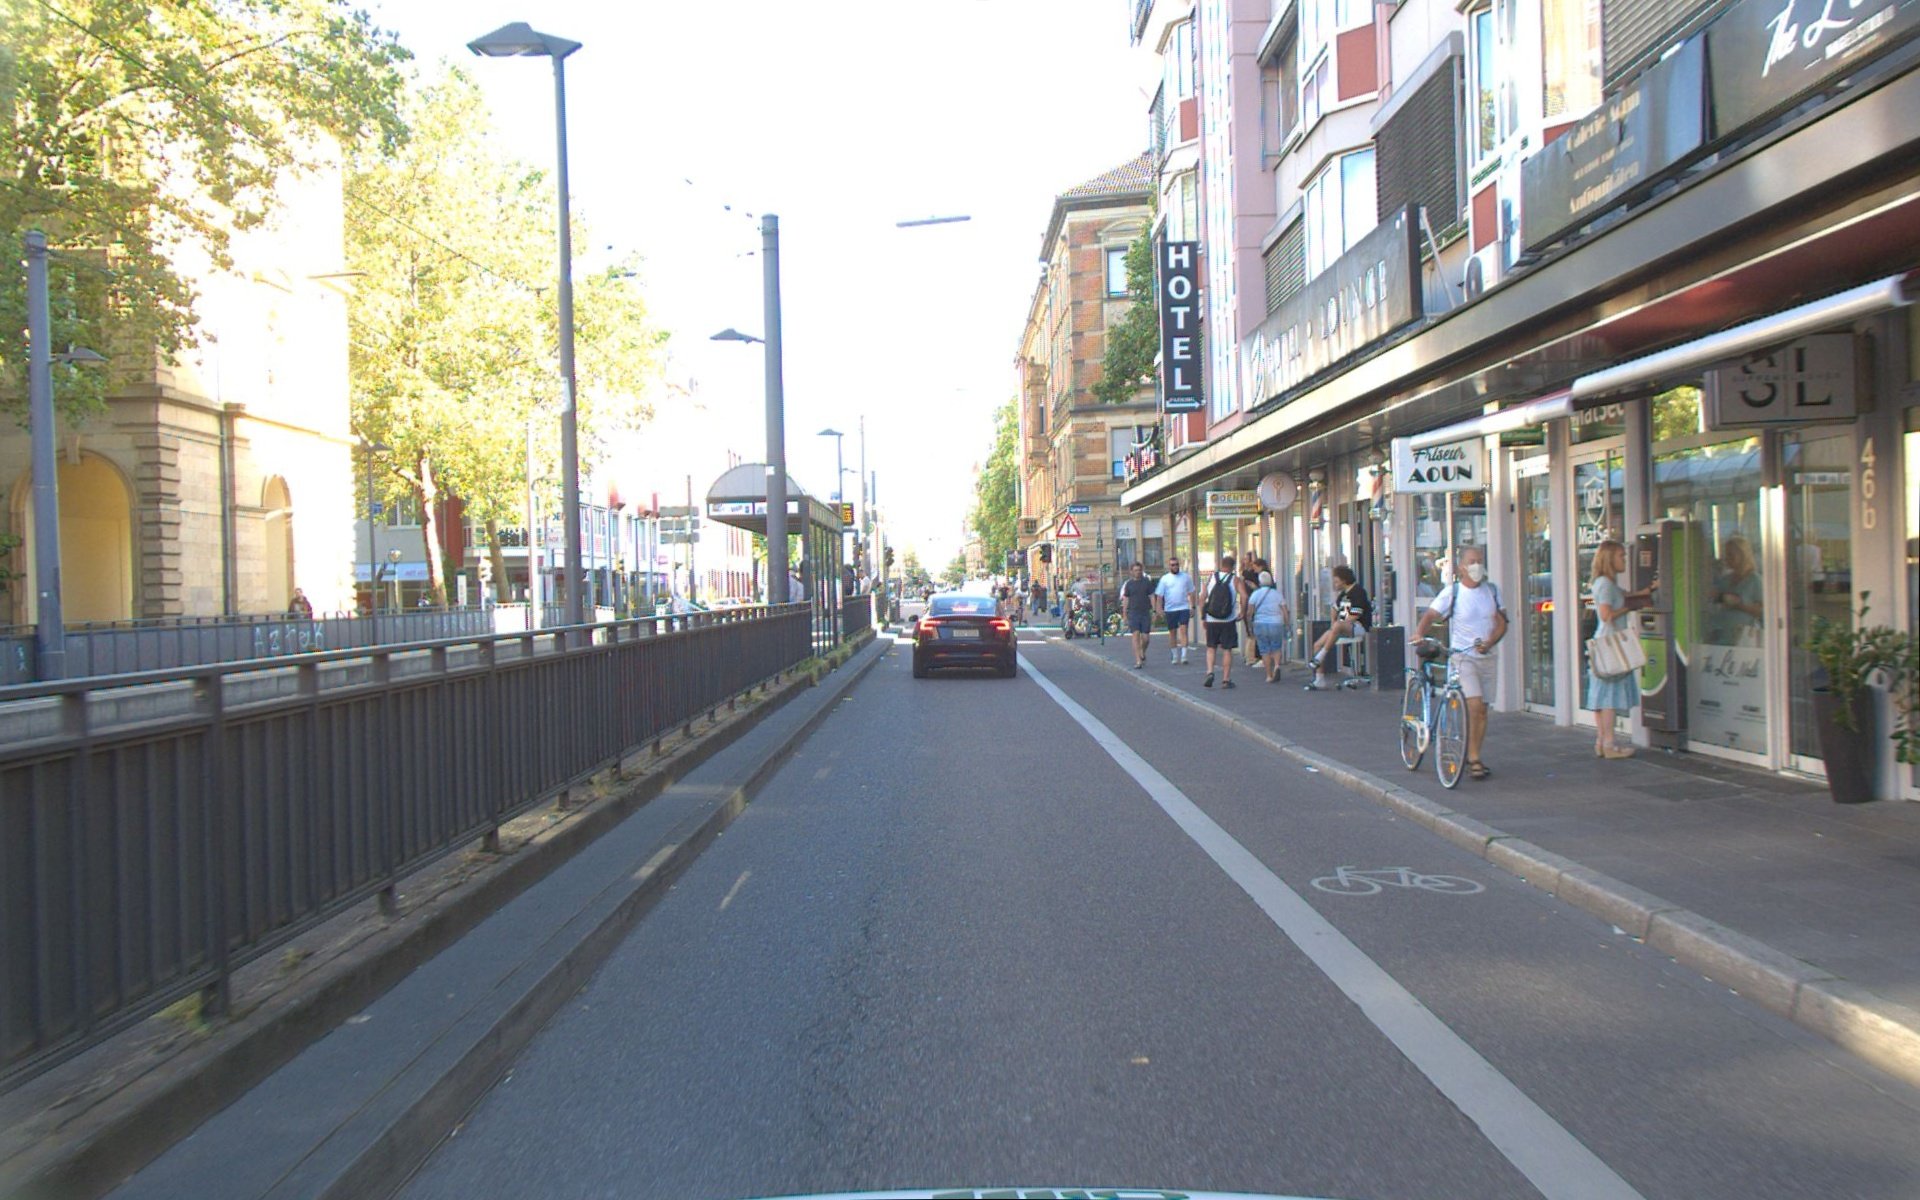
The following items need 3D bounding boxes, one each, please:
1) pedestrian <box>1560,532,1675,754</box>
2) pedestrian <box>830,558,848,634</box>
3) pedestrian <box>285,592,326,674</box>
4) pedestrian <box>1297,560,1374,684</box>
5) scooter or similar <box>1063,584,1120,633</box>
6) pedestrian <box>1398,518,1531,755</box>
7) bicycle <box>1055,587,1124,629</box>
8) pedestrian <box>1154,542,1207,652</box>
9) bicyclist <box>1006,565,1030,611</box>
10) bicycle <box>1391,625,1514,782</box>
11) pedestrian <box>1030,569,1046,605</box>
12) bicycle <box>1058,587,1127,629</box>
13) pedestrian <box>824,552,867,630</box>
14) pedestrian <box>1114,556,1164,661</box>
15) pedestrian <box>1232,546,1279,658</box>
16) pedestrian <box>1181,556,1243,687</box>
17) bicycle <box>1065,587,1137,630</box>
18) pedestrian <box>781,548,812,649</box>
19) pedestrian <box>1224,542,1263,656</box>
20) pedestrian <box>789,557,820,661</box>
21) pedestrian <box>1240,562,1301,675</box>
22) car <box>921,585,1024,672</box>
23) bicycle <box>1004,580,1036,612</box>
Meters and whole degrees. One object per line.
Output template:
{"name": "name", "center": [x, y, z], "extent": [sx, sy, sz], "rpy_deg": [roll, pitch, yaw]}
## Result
{"name": "pedestrian", "center": [4.977, 0.316, 12.538], "extent": [0.588, 1.617, 0.553], "rpy_deg": [-2, 0, -1]}
{"name": "pedestrian", "center": [-2.726, -0.096, 37.188], "extent": [0.344, 1.698, 0.529], "rpy_deg": [-1, 0, -2]}
{"name": "pedestrian", "center": [-16.698, 0.832, 42.209], "extent": [0.690, 2.049, 0.685], "rpy_deg": [-1, 0, 40]}
{"name": "pedestrian", "center": [4.792, 0.273, 21.155], "extent": [0.723, 1.497, 0.707], "rpy_deg": [-4, 0, 0]}
{"name": "scooter or similar", "center": [3.575, 0.221, 45.129], "extent": [1.448, 1.250, 0.591], "rpy_deg": [-4, 0, 0]}
{"name": "pedestrian", "center": [3.718, 0.259, 12.229], "extent": [0.649, 1.658, 0.705], "rpy_deg": [-4, 0, -2]}
{"name": "bicycle", "center": [3.790, 0.230, 48.464], "extent": [1.906, 1.126, 0.564], "rpy_deg": [-2, 0, -3]}
{"name": "pedestrian", "center": [3.863, -0.055, 28.988], "extent": [0.691, 1.851, 0.763], "rpy_deg": [-4, 0, 0]}
{"name": "bicyclist", "center": [2.146, -0.433, 61.116], "extent": [0.644, 1.684, 0.924], "rpy_deg": [-1, 0, -13]}
{"name": "bicycle", "center": [3.584, 0.717, 12.134], "extent": [0.296, 1.007, 1.760], "rpy_deg": [-3, 1, -1]}
{"name": "pedestrian", "center": [3.789, -0.634, 80.251], "extent": [0.461, 1.758, 0.586], "rpy_deg": [-1, 1, 35]}
{"name": "bicycle", "center": [3.827, 0.230, 47.817], "extent": [1.906, 1.126, 0.564], "rpy_deg": [-2, 0, -3]}
{"name": "pedestrian", "center": [-2.775, -0.210, 40.066], "extent": [0.762, 1.863, 0.796], "rpy_deg": [0, -1, -31]}
{"name": "pedestrian", "center": [3.109, 0.145, 28.798], "extent": [0.654, 1.758, 0.810], "rpy_deg": [-4, 0, -1]}
{"name": "pedestrian", "center": [4.868, 0.029, 27.261], "extent": [0.616, 1.800, 0.501], "rpy_deg": [-3, 0, 0]}
{"name": "pedestrian", "center": [3.434, 0.280, 22.593], "extent": [0.729, 1.757, 0.814], "rpy_deg": [0, 0, 0]}
{"name": "bicycle", "center": [3.907, 0.225, 45.789], "extent": [1.906, 1.126, 0.564], "rpy_deg": [-2, 0, -3]}
{"name": "pedestrian", "center": [-2.637, -0.027, 26.762], "extent": [0.415, 1.601, 0.592], "rpy_deg": [-1, 0, 0]}
{"name": "pedestrian", "center": [4.796, -0.020, 27.994], "extent": [0.442, 1.881, 0.812], "rpy_deg": [-3, 0, 0]}
{"name": "pedestrian", "center": [-2.433, 0.144, 25.842], "extent": [0.415, 1.601, 0.448], "rpy_deg": [-1, 0, -1]}
{"name": "pedestrian", "center": [4.324, 0.253, 23.056], "extent": [0.623, 1.509, 0.654], "rpy_deg": [-4, 0, -1]}
{"name": "car", "center": [0.160, 0.459, 29.271], "extent": [1.685, 1.430, 3.709], "rpy_deg": [0, 1, -2]}
{"name": "bicycle", "center": [2.195, -0.161, 60.953], "extent": [0.636, 1.159, 2.088], "rpy_deg": [-1, 0, -13]}
